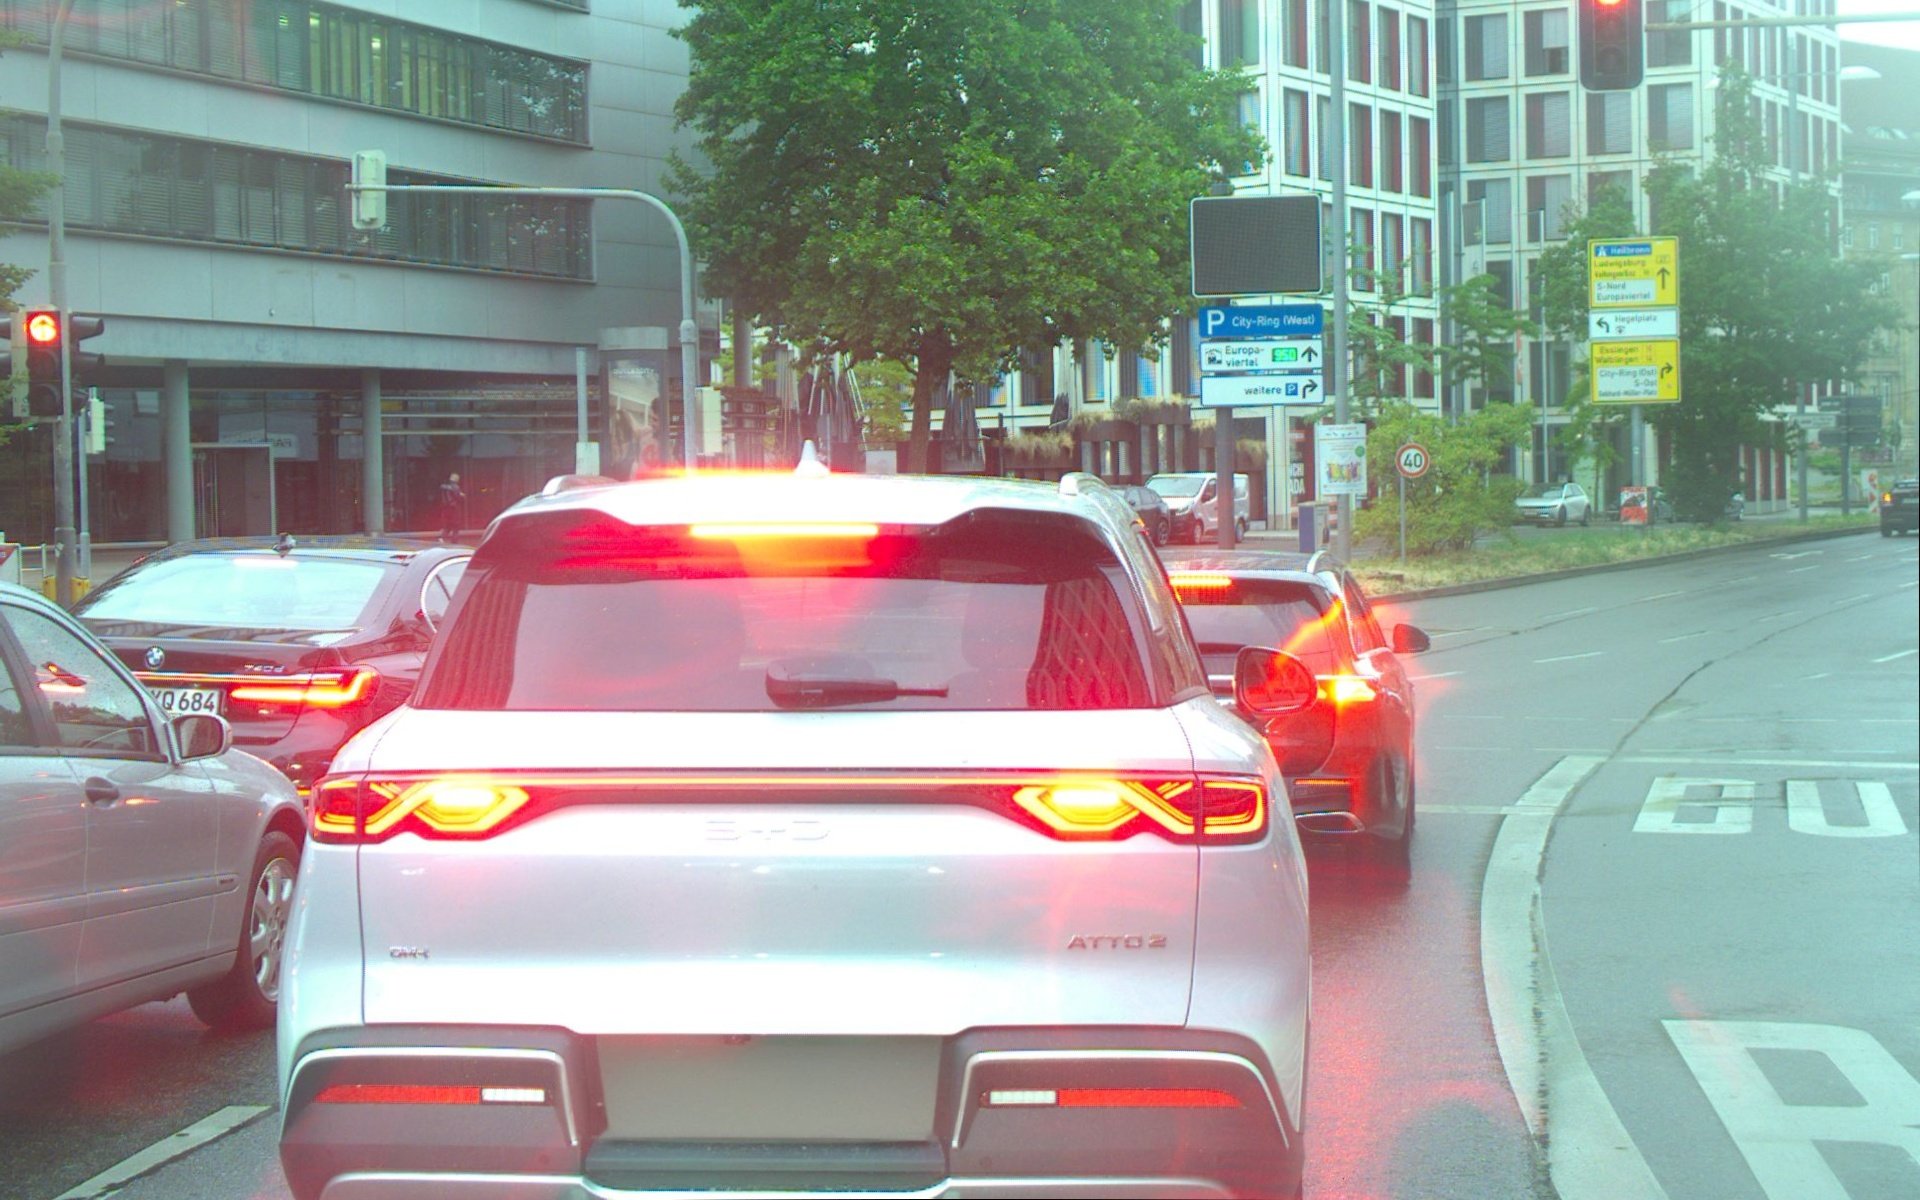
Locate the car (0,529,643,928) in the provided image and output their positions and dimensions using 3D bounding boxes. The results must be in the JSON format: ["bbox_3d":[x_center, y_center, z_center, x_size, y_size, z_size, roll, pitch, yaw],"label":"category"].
[{"bbox_3d":[-2.911,0.450,15.396,1.956,1.525,3.998,0,1,11],"label":"car"}]

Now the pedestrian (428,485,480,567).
[{"bbox_3d":[-10.687,-1.559,72.646,0.728,1.721,0.924,0,1,21],"label":"pedestrian"}]

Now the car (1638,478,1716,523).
[{"bbox_3d":[28.857,-4.016,138.293,1.996,1.700,4.303,1,3,27],"label":"car"}]

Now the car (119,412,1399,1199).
[{"bbox_3d":[-0.230,0.496,7.597,1.994,1.703,4.483,0,2,2],"label":"car"}]

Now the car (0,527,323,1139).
[{"bbox_3d":[-3.121,0.563,8.924,1.682,1.481,4.195,0,1,7],"label":"car"}]

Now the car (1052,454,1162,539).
[{"bbox_3d":[3.904,-2.702,90.421,1.739,2.154,4.490,1,1,18],"label":"car"}]

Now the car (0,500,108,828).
[{"bbox_3d":[-5.735,0.320,16.029,1.886,1.590,3.998,0,1,12],"label":"car"}]

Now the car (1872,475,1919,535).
[{"bbox_3d":[25.503,-2.516,91.160,1.996,1.546,3.996,2,2,22],"label":"car"}]

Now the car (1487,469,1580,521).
[{"bbox_3d":[19.968,-3.672,119.524,1.996,1.700,4.303,1,3,27],"label":"car"}]

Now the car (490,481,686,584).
[{"bbox_3d":[-6.634,-1.247,61.741,1.995,1.700,3.997,1,3,19],"label":"car"}]

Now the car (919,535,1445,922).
[{"bbox_3d":[1.162,0.474,15.896,1.956,1.525,3.998,0,1,11],"label":"car"}]
